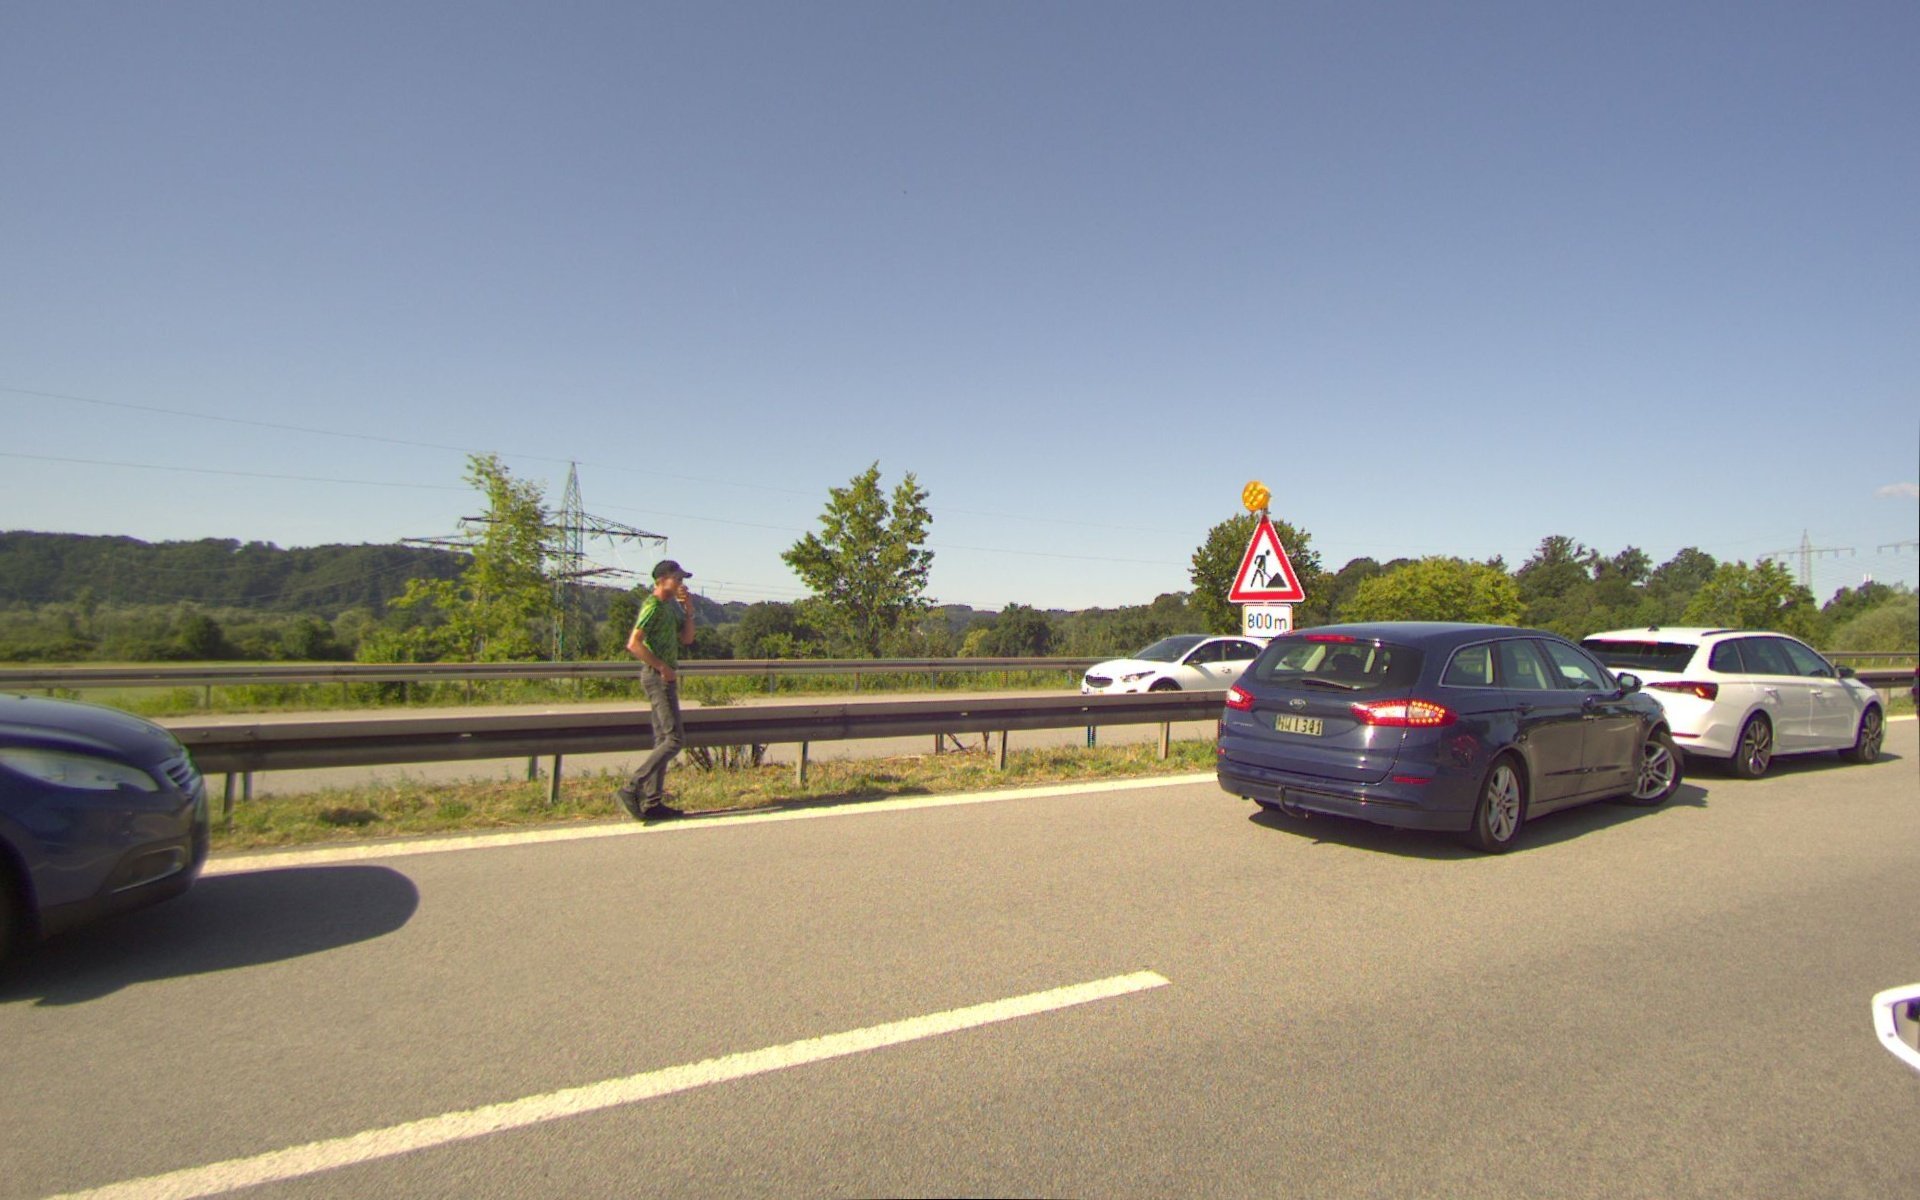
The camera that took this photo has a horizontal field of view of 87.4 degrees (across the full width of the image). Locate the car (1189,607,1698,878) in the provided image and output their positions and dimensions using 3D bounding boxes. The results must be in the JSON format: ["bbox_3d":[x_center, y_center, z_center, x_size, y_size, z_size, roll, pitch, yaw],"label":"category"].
[{"bbox_3d":[3.889,0.868,7.728,4.453,1.513,1.774,2,-2,-38],"label":"car"}]

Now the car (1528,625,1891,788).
[{"bbox_3d":[8.287,1.045,11.034,4.160,1.461,1.687,1,0,-30],"label":"car"}]

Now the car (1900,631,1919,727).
[{"bbox_3d":[16.724,1.244,15.766,4.282,1.445,1.687,1,0,-30],"label":"car"}]

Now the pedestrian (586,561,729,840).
[{"bbox_3d":[-2.081,0.657,6.891,0.804,1.773,0.668,1,-2,-29],"label":"pedestrian"}]

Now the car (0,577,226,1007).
[{"bbox_3d":[-5.097,0.654,3.555,3.907,1.555,1.678,1,0,-33],"label":"car"}]

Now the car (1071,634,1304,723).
[{"bbox_3d":[4.290,1.388,18.719,4.255,1.445,1.686,1,0,-31],"label":"car"}]
